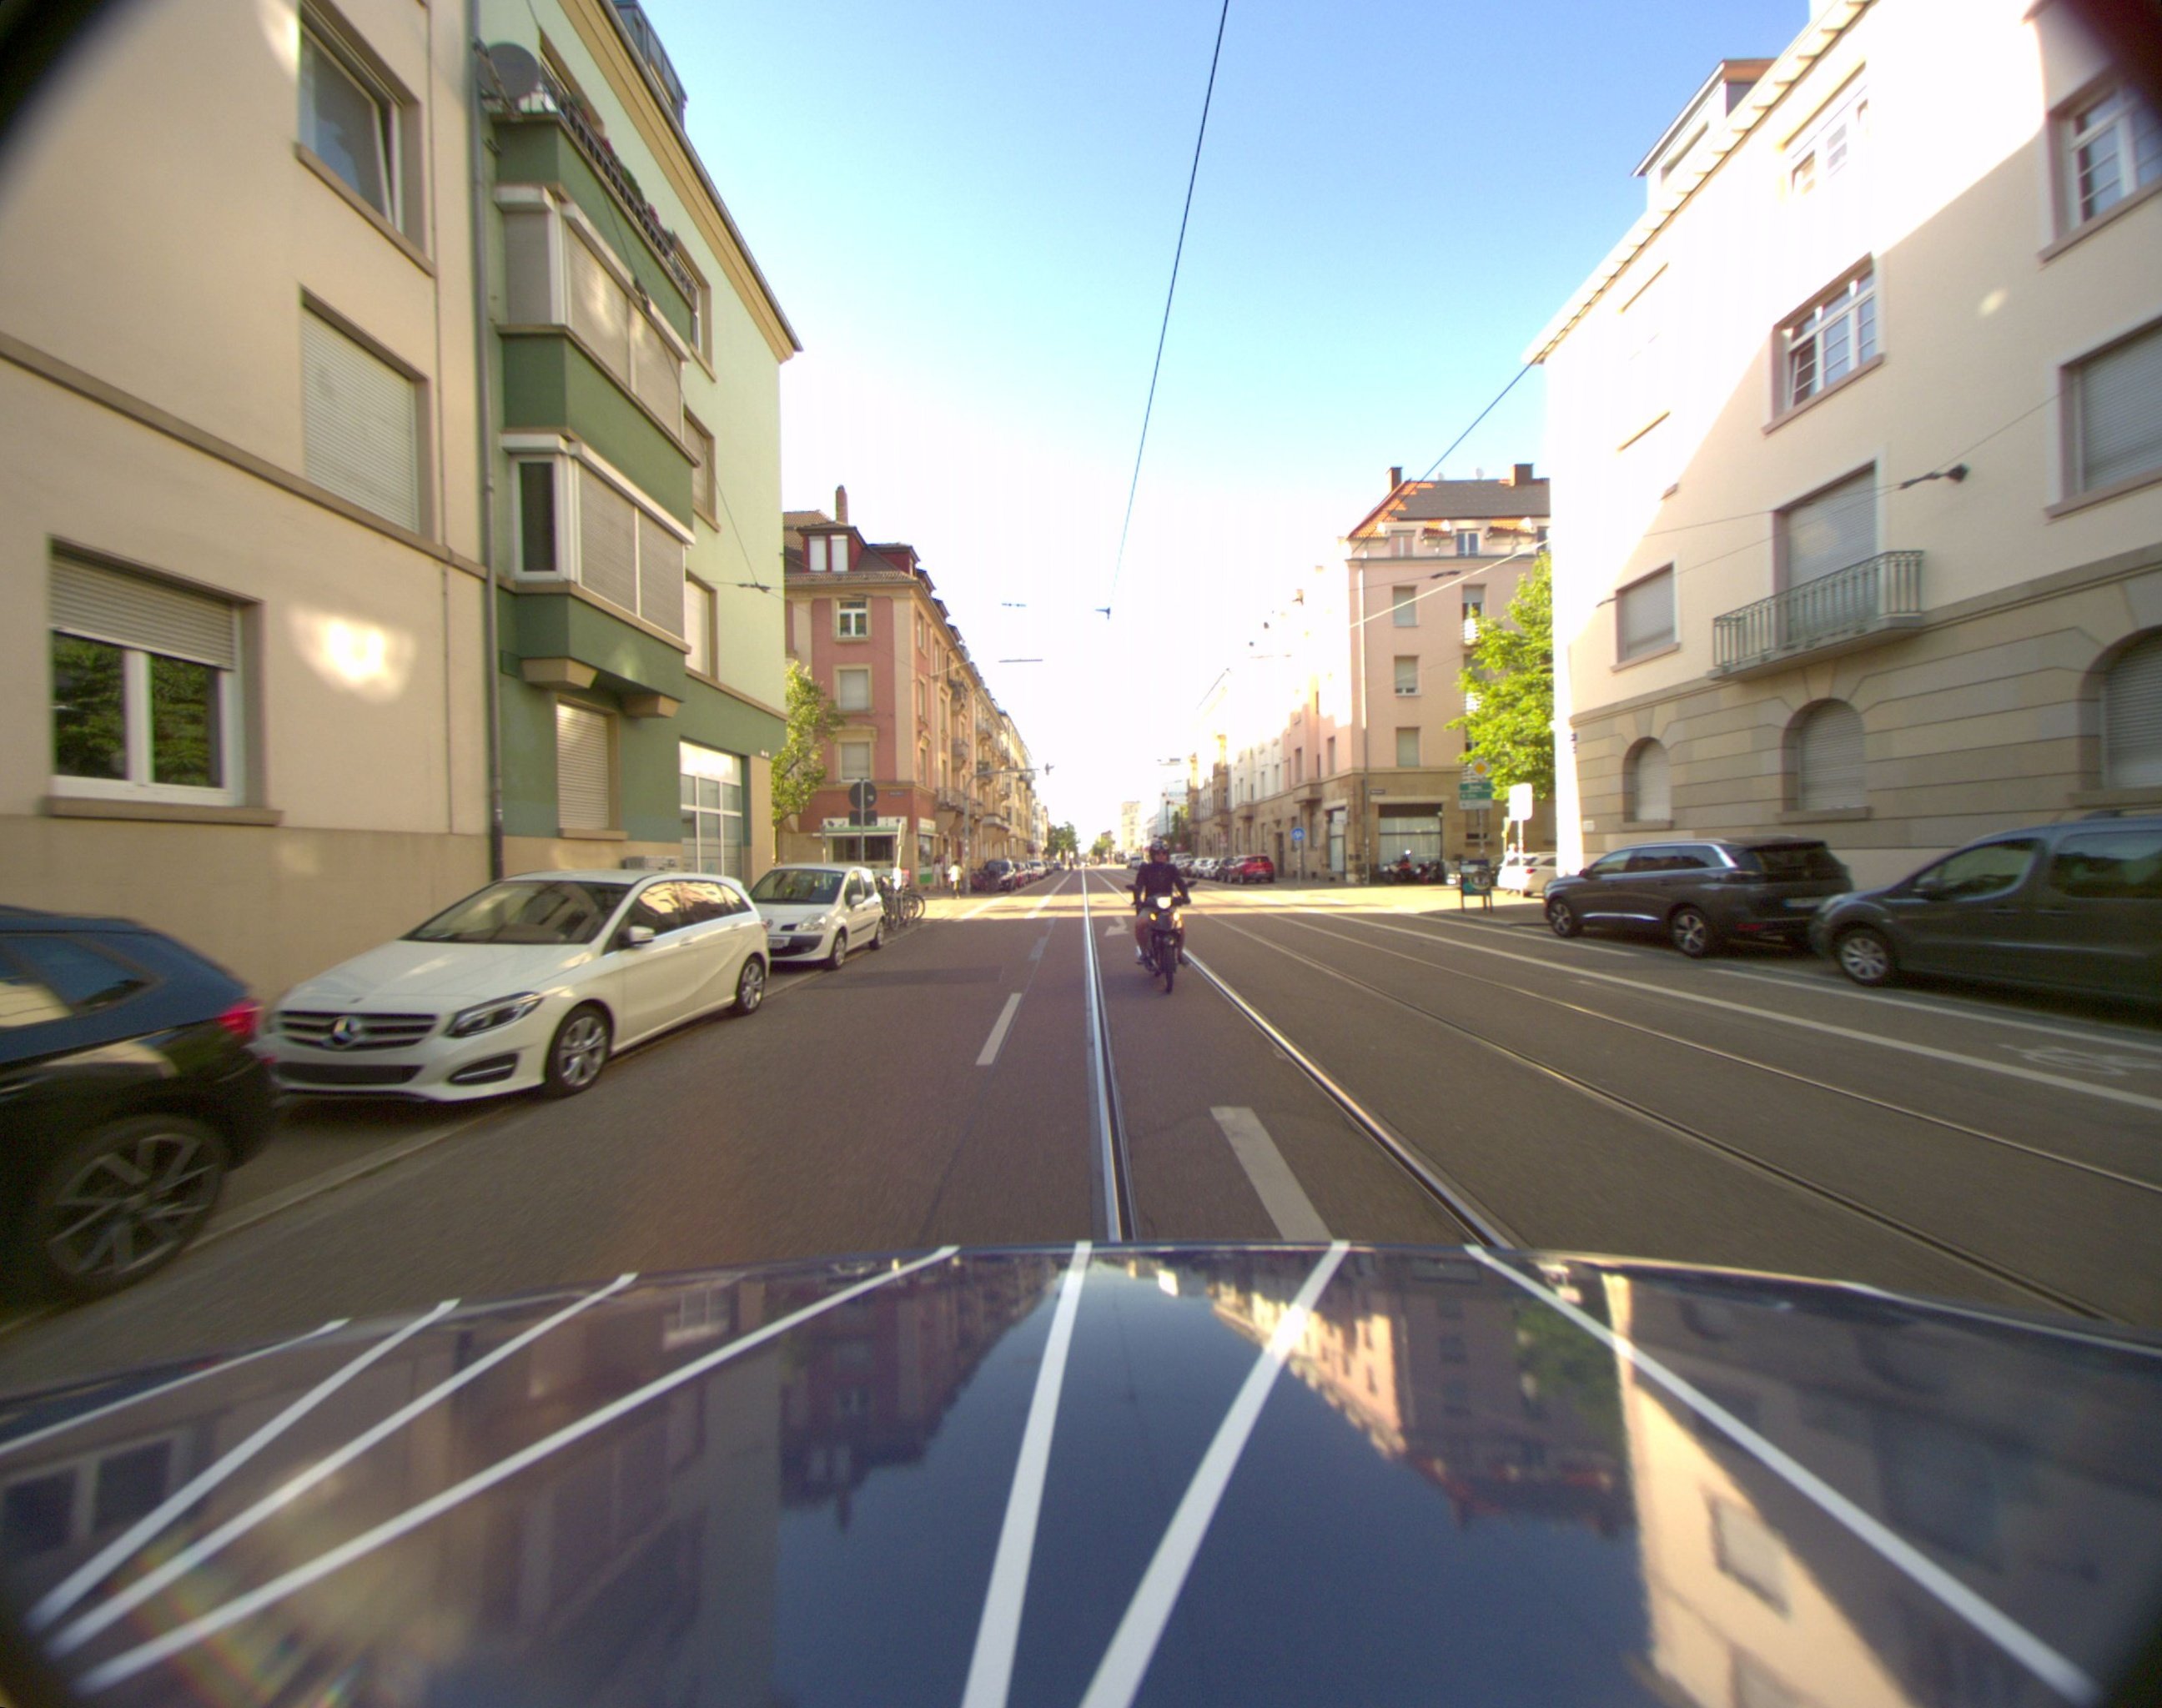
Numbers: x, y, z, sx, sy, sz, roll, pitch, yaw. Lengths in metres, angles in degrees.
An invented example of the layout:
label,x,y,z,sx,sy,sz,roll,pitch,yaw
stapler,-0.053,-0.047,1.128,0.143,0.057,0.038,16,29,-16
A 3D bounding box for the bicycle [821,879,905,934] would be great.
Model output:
label,x,y,z,sx,sy,sz,roll,pitch,yaw
bicycle,-4.952,1.193,17.288,1.727,1.148,0.469,2,0,1

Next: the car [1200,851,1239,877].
label,x,y,z,sx,sy,sz,roll,pitch,yaw
car,9.664,0.676,53.271,1.788,1.612,4.179,-3,0,-2

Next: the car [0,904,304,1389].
label,x,y,z,sx,sy,sz,roll,pitch,yaw
car,-4.472,1.023,1.352,1.659,1.557,4.338,-1,0,1

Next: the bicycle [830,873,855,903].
label,x,y,z,sx,sy,sz,roll,pitch,yaw
bicycle,-9.952,1.410,31.706,0.469,1.148,1.728,-1,0,0

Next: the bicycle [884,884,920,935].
label,x,y,z,sx,sy,sz,roll,pitch,yaw
bicycle,-4.097,1.255,17.482,0.353,1.038,1.728,-1,0,2

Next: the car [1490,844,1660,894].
label,x,y,z,sx,sy,sz,roll,pitch,yaw
car,15.670,0.495,24.251,4.228,1.456,1.783,-1,-1,0

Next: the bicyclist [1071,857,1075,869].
label,x,y,z,sx,sy,sz,roll,pitch,yaw
bicyclist,-1.078,1.228,105.802,0.509,1.692,0.845,-2,0,0

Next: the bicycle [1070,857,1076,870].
label,x,y,z,sx,sy,sz,roll,pitch,yaw
bicycle,-1.150,1.307,105.804,0.775,1.700,1.937,-2,0,0

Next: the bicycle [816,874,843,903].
label,x,y,z,sx,sy,sz,roll,pitch,yaw
bicycle,-10.487,1.412,31.711,0.545,1.148,1.728,-1,0,0

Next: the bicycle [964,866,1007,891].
label,x,y,z,sx,sy,sz,roll,pitch,yaw
bicycle,-4.574,1.173,36.408,1.964,1.220,0.527,0,0,1

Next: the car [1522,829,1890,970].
label,x,y,z,sx,sy,sz,roll,pitch,yaw
car,9.273,0.586,11.948,1.788,1.680,4.667,-3,0,-2

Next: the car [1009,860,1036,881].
label,x,y,z,sx,sy,sz,roll,pitch,yaw
car,-4.255,1.188,55.853,1.658,1.474,4.474,-1,0,-1

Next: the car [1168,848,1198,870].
label,x,y,z,sx,sy,sz,roll,pitch,yaw
car,9.775,0.505,73.296,1.978,1.937,5.251,-3,0,-1

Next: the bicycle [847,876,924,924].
label,x,y,z,sx,sy,sz,roll,pitch,yaw
bicycle,-5.064,1.185,19.755,1.847,1.148,0.469,2,0,1

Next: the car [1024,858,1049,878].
label,x,y,z,sx,sy,sz,roll,pitch,yaw
car,-3.919,1.183,67.173,1.847,1.681,4.505,-1,0,1

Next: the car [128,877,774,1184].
label,x,y,z,sx,sy,sz,roll,pitch,yaw
car,-4.400,1.060,6.419,1.788,1.567,4.326,-1,0,1

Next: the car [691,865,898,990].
label,x,y,z,sx,sy,sz,roll,pitch,yaw
car,-4.400,1.036,12.391,1.788,1.622,4.000,-1,0,1

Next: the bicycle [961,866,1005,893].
label,x,y,z,sx,sy,sz,roll,pitch,yaw
bicycle,-4.556,1.175,35.275,1.964,1.220,0.527,0,0,1

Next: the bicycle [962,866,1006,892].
label,x,y,z,sx,sy,sz,roll,pitch,yaw
bicycle,-4.571,1.174,35.836,1.964,1.220,0.527,0,0,1

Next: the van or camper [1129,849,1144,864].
label,x,y,z,sx,sy,sz,roll,pitch,yaw
van or camper,9.997,0.455,137.514,2.177,2.452,6.232,-3,0,0

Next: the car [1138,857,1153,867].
label,x,y,z,sx,sy,sz,roll,pitch,yaw
car,9.810,1.189,115.922,1.787,1.437,4.842,-3,0,1

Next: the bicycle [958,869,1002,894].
label,x,y,z,sx,sy,sz,roll,pitch,yaw
bicycle,-4.596,1.245,34.696,1.928,1.154,0.527,0,0,1

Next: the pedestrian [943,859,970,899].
label,x,y,z,sx,sy,sz,roll,pitch,yaw
pedestrian,-5.232,1.038,31.892,0.730,1.624,0.704,-2,2,32

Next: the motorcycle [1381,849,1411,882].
label,x,y,z,sx,sy,sz,roll,pitch,yaw
motorcycle,14.023,0.485,33.783,0.948,1.410,2.029,-1,0,30

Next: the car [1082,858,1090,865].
label,x,y,z,sx,sy,sz,roll,pitch,yaw
car,1.217,1.822,183.233,1.971,1.577,4.000,-2,0,1

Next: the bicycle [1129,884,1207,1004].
label,x,y,z,sx,sy,sz,roll,pitch,yaw
bicycle,0.978,0.996,8.953,0.767,1.191,1.752,-1,0,3

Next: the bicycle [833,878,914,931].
label,x,y,z,sx,sy,sz,roll,pitch,yaw
bicycle,-4.895,1.182,17.967,1.727,1.148,0.469,2,0,1

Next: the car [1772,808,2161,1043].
label,x,y,z,sx,sy,sz,roll,pitch,yaw
car,9.270,0.521,6.950,1.787,1.805,4.528,-3,0,1

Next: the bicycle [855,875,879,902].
label,x,y,z,sx,sy,sz,roll,pitch,yaw
bicycle,-8.943,1.421,31.815,0.469,1.043,1.728,-1,0,0

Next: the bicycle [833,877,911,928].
label,x,y,z,sx,sy,sz,roll,pitch,yaw
bicycle,-5.089,1.177,18.517,1.727,1.148,0.469,2,0,1

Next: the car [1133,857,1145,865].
label,x,y,z,sx,sy,sz,roll,pitch,yaw
car,9.955,1.182,130.745,1.787,1.390,4.445,-3,0,2

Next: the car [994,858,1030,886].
label,x,y,z,sx,sy,sz,roll,pitch,yaw
car,-4.145,1.089,46.201,1.757,1.585,3.730,-1,0,2

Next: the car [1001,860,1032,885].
label,x,y,z,sx,sy,sz,roll,pitch,yaw
car,-4.256,1.206,50.900,1.658,1.504,4.474,-1,0,0

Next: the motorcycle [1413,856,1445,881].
label,x,y,z,sx,sy,sz,roll,pitch,yaw
motorcycle,15.441,0.624,33.710,2.040,1.029,0.555,-1,0,-43

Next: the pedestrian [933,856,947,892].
label,x,y,z,sx,sy,sz,roll,pitch,yaw
pedestrian,-6.510,0.920,35.146,0.514,1.677,0.448,-1,0,0

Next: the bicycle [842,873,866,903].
label,x,y,z,sx,sy,sz,roll,pitch,yaw
bicycle,-9.454,1.397,31.697,0.469,1.148,1.728,-1,0,0

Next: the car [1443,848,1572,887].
label,x,y,z,sx,sy,sz,roll,pitch,yaw
car,16.491,0.531,29.500,3.997,1.385,1.748,-1,-1,0

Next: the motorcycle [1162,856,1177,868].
label,x,y,z,sx,sy,sz,roll,pitch,yaw
motorcycle,9.918,0.895,85.160,0.884,1.343,1.961,-2,0,33

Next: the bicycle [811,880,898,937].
label,x,y,z,sx,sy,sz,roll,pitch,yaw
bicycle,-4.963,1.187,16.667,1.727,1.148,0.469,2,0,1

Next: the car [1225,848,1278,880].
label,x,y,z,sx,sy,sz,roll,pitch,yaw
car,9.445,0.542,42.453,1.788,1.597,4.396,-3,0,-2

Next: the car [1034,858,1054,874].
label,x,y,z,sx,sy,sz,roll,pitch,yaw
car,-4.106,1.287,84.266,1.863,1.656,4.562,-1,0,2

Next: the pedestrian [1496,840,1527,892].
label,x,y,z,sx,sy,sz,roll,pitch,yaw
pedestrian,14.539,0.401,25.660,0.608,1.702,0.732,-1,0,0

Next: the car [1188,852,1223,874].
label,x,y,z,sx,sy,sz,roll,pitch,yaw
car,9.513,0.701,58.143,1.776,1.538,4.365,-3,0,-2

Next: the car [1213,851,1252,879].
label,x,y,z,sx,sy,sz,roll,pitch,yaw
car,9.363,0.662,47.131,1.788,1.543,3.019,-3,0,0

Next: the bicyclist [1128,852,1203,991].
label,x,y,z,sx,sy,sz,roll,pitch,yaw
bicyclist,0.968,0.747,8.905,0.774,1.531,0.939,-1,0,2

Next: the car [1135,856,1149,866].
label,x,y,z,sx,sy,sz,roll,pitch,yaw
car,9.773,1.065,121.707,1.788,1.472,4.699,-3,0,0

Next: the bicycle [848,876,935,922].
label,x,y,z,sx,sy,sz,roll,pitch,yaw
bicycle,-5.083,1.191,20.430,2.091,1.148,0.848,1,0,1

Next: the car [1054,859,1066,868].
label,x,y,z,sx,sy,sz,roll,pitch,yaw
car,-3.569,1.515,127.535,1.714,1.399,4.358,1,0,2

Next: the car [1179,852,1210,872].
label,x,y,z,sx,sy,sz,roll,pitch,yaw
car,9.425,0.670,63.422,1.788,1.514,4.360,-3,0,-1

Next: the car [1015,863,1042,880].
label,x,y,z,sx,sy,sz,roll,pitch,yaw
car,-4.159,1.345,60.953,1.658,1.241,4.505,-1,0,3

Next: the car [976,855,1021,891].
label,x,y,z,sx,sy,sz,roll,pitch,yaw
car,-4.235,0.950,39.637,1.757,1.725,4.506,2,0,1

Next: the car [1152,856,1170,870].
label,x,y,z,sx,sy,sz,roll,pitch,yaw
car,9.687,1.023,91.820,1.787,1.556,4.611,-3,0,2
